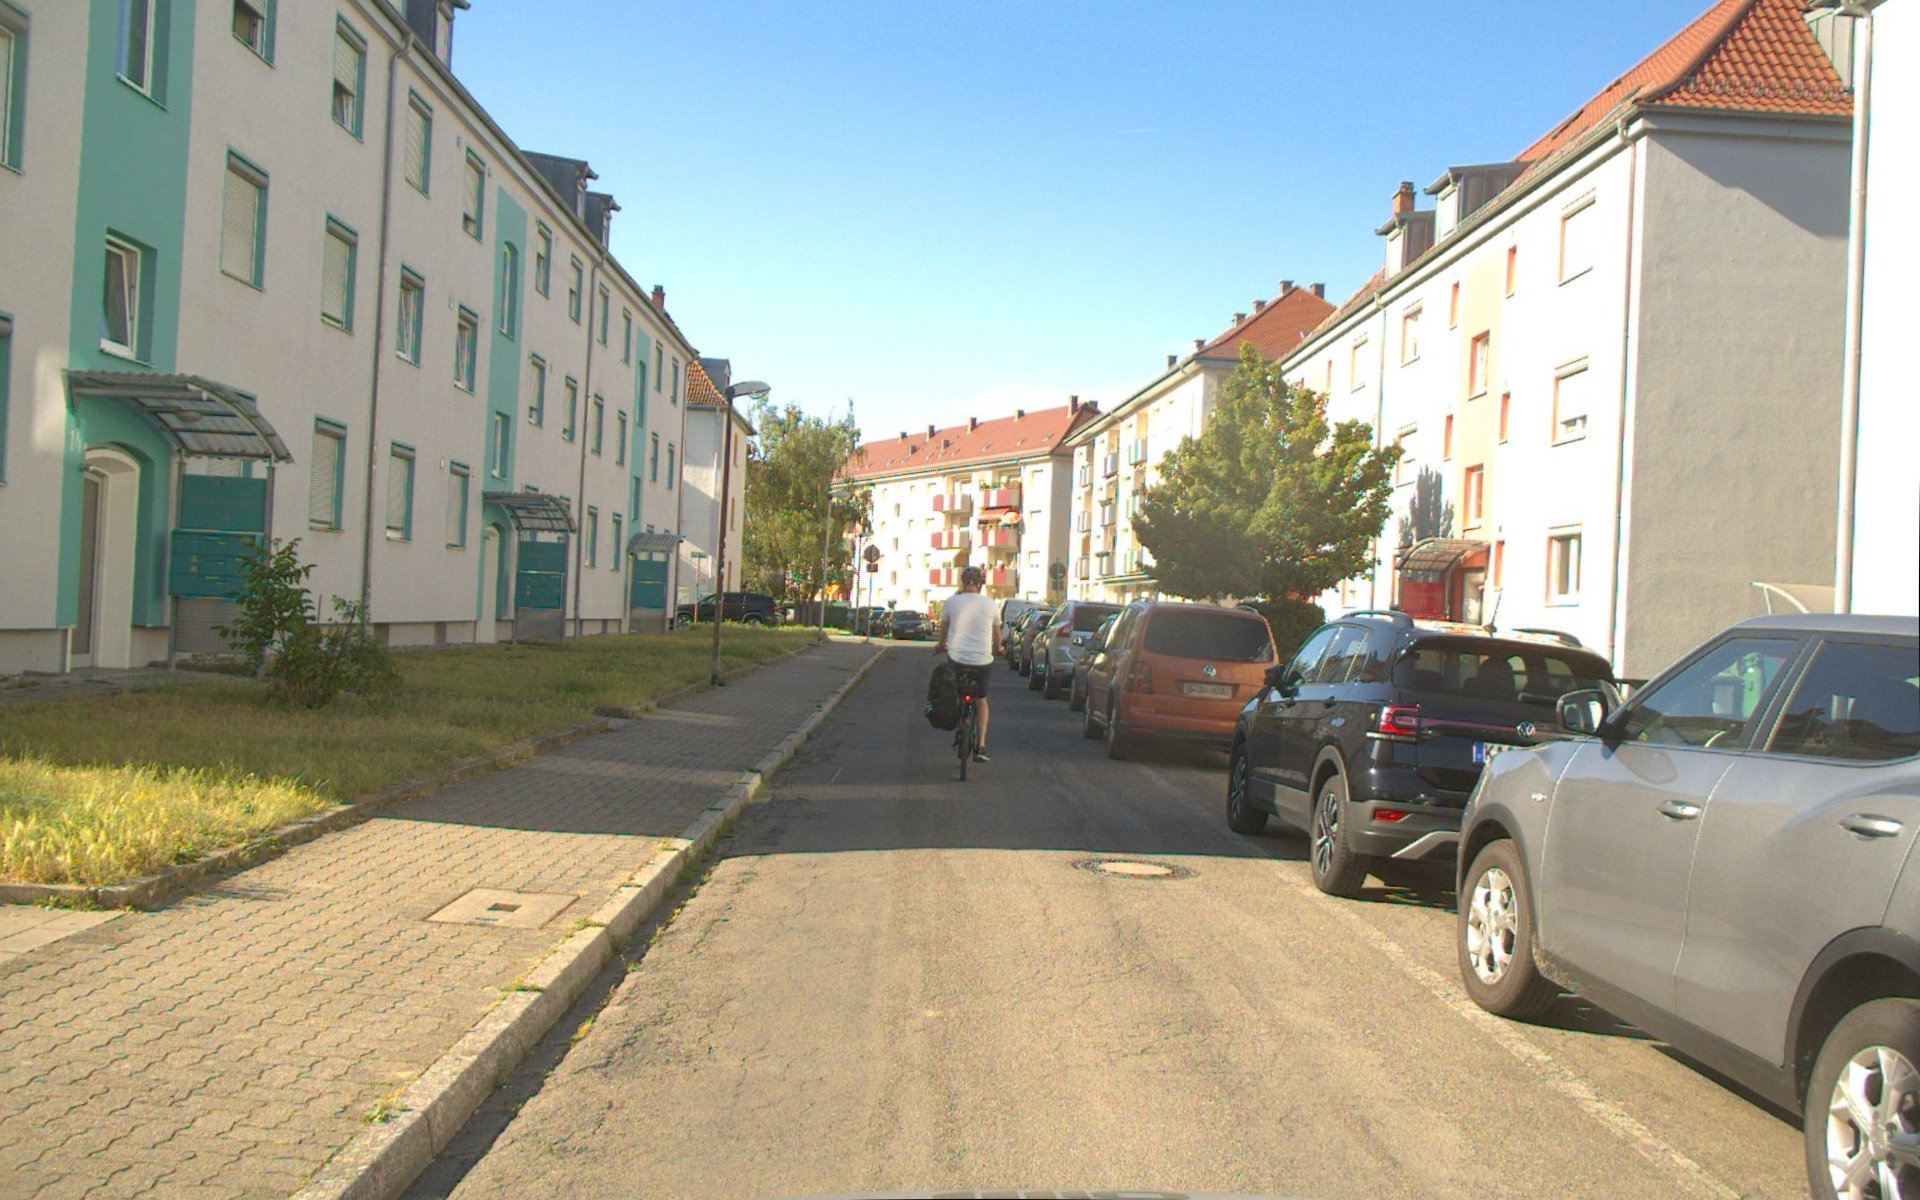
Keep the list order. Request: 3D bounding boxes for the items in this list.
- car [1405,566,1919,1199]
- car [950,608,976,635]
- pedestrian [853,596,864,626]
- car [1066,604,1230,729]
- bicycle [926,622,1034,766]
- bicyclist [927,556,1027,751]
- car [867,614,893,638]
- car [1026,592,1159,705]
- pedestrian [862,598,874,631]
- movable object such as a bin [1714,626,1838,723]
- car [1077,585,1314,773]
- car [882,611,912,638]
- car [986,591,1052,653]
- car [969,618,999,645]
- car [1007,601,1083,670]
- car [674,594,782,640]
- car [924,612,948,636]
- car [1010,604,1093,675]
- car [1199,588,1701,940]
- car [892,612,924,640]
[{"bbox_3d":[3.017,0.810,5.197,1.716,1.645,4.449,5,0,-3],"label":"car"},{"bbox_3d":[0.181,1.335,101.696,1.354,1.523,3.075,4,0,-3],"label":"car"},{"bbox_3d":[-4.966,0.542,81.157,0.425,1.452,0.543,4,0,-1],"label":"pedestrian"},{"bbox_3d":[2.599,0.876,23.636,1.586,1.486,3.838,5,0,-4],"label":"car"},{"bbox_3d":[0.146,0.800,14.794,0.792,1.148,2.100,2,0,-3],"label":"bicycle"},{"bbox_3d":[0.143,0.469,14.812,0.792,1.672,0.898,2,0,-4],"label":"bicyclist"},{"bbox_3d":[-4.660,1.490,96.170,1.440,1.359,3.138,-1,0,-4],"label":"car"},{"bbox_3d":[2.221,0.770,28.758,1.667,1.700,4.377,4,0,-3],"label":"car"},{"bbox_3d":[-4.523,0.693,81.291,0.425,1.601,0.543,4,0,-1],"label":"pedestrian"},{"bbox_3d":[13.007,1.173,26.407,1.332,1.440,1.187,2,0,-1],"label":"movable object such as a bin"},{"bbox_3d":[2.443,0.780,18.176,1.824,1.697,4.126,4,0,-1],"label":"car"},{"bbox_3d":[-3.431,1.322,89.553,1.441,1.359,3.137,-1,0,-5],"label":"car"},{"bbox_3d":[1.819,0.670,52.259,1.641,1.769,3.940,4,0,-3],"label":"car"},{"bbox_3d":[1.374,1.792,94.828,1.440,1.358,3.139,4,0,-3],"label":"car"},{"bbox_3d":[2.166,0.888,42.913,1.528,1.604,3.364,4,0,-3],"label":"car"},{"bbox_3d":[-9.261,0.683,66.297,4.149,1.667,1.581,2,0,-5],"label":"car"},{"bbox_3d":[-1.691,1.636,114.350,1.440,1.542,3.075,4,0,-3],"label":"car"},{"bbox_3d":[2.050,0.861,38.008,1.527,1.436,3.932,4,0,-1],"label":"car"},{"bbox_3d":[2.786,0.824,10.520,1.678,1.623,4.396,5,0,-1],"label":"car"},{"bbox_3d":[-2.679,1.336,85.199,1.441,1.359,3.137,-1,0,-6],"label":"car"}]
